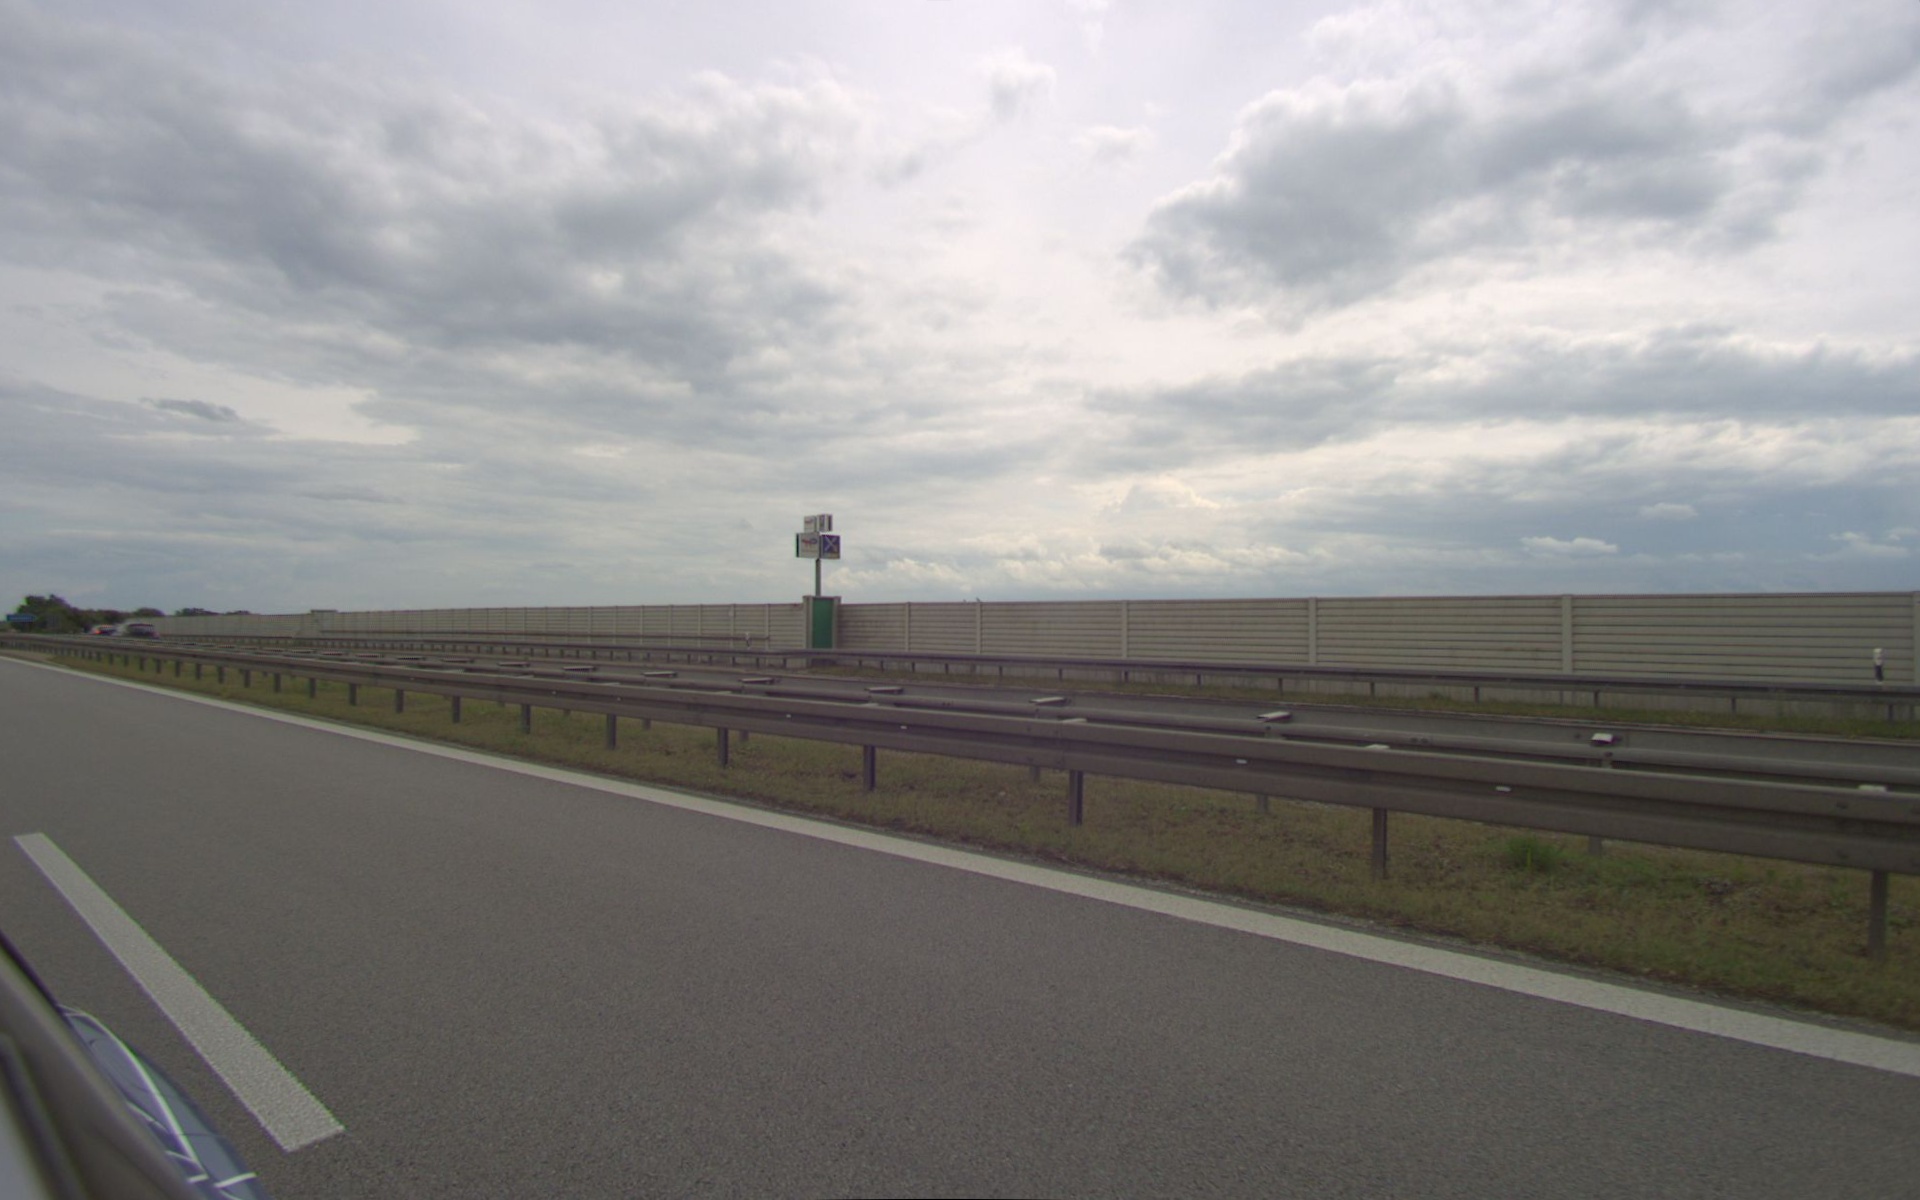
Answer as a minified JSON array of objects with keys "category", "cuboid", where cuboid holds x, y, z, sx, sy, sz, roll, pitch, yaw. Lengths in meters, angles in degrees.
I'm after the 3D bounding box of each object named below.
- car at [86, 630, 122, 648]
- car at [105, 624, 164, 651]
[{"category":"car","cuboid":[-73.786,3.321,87.212,4.563,1.506,1.686,-1,-3,41]},{"category":"car","cuboid":[-47.957,2.183,58.777,4.681,1.384,1.777,-1,-7,41]}]
